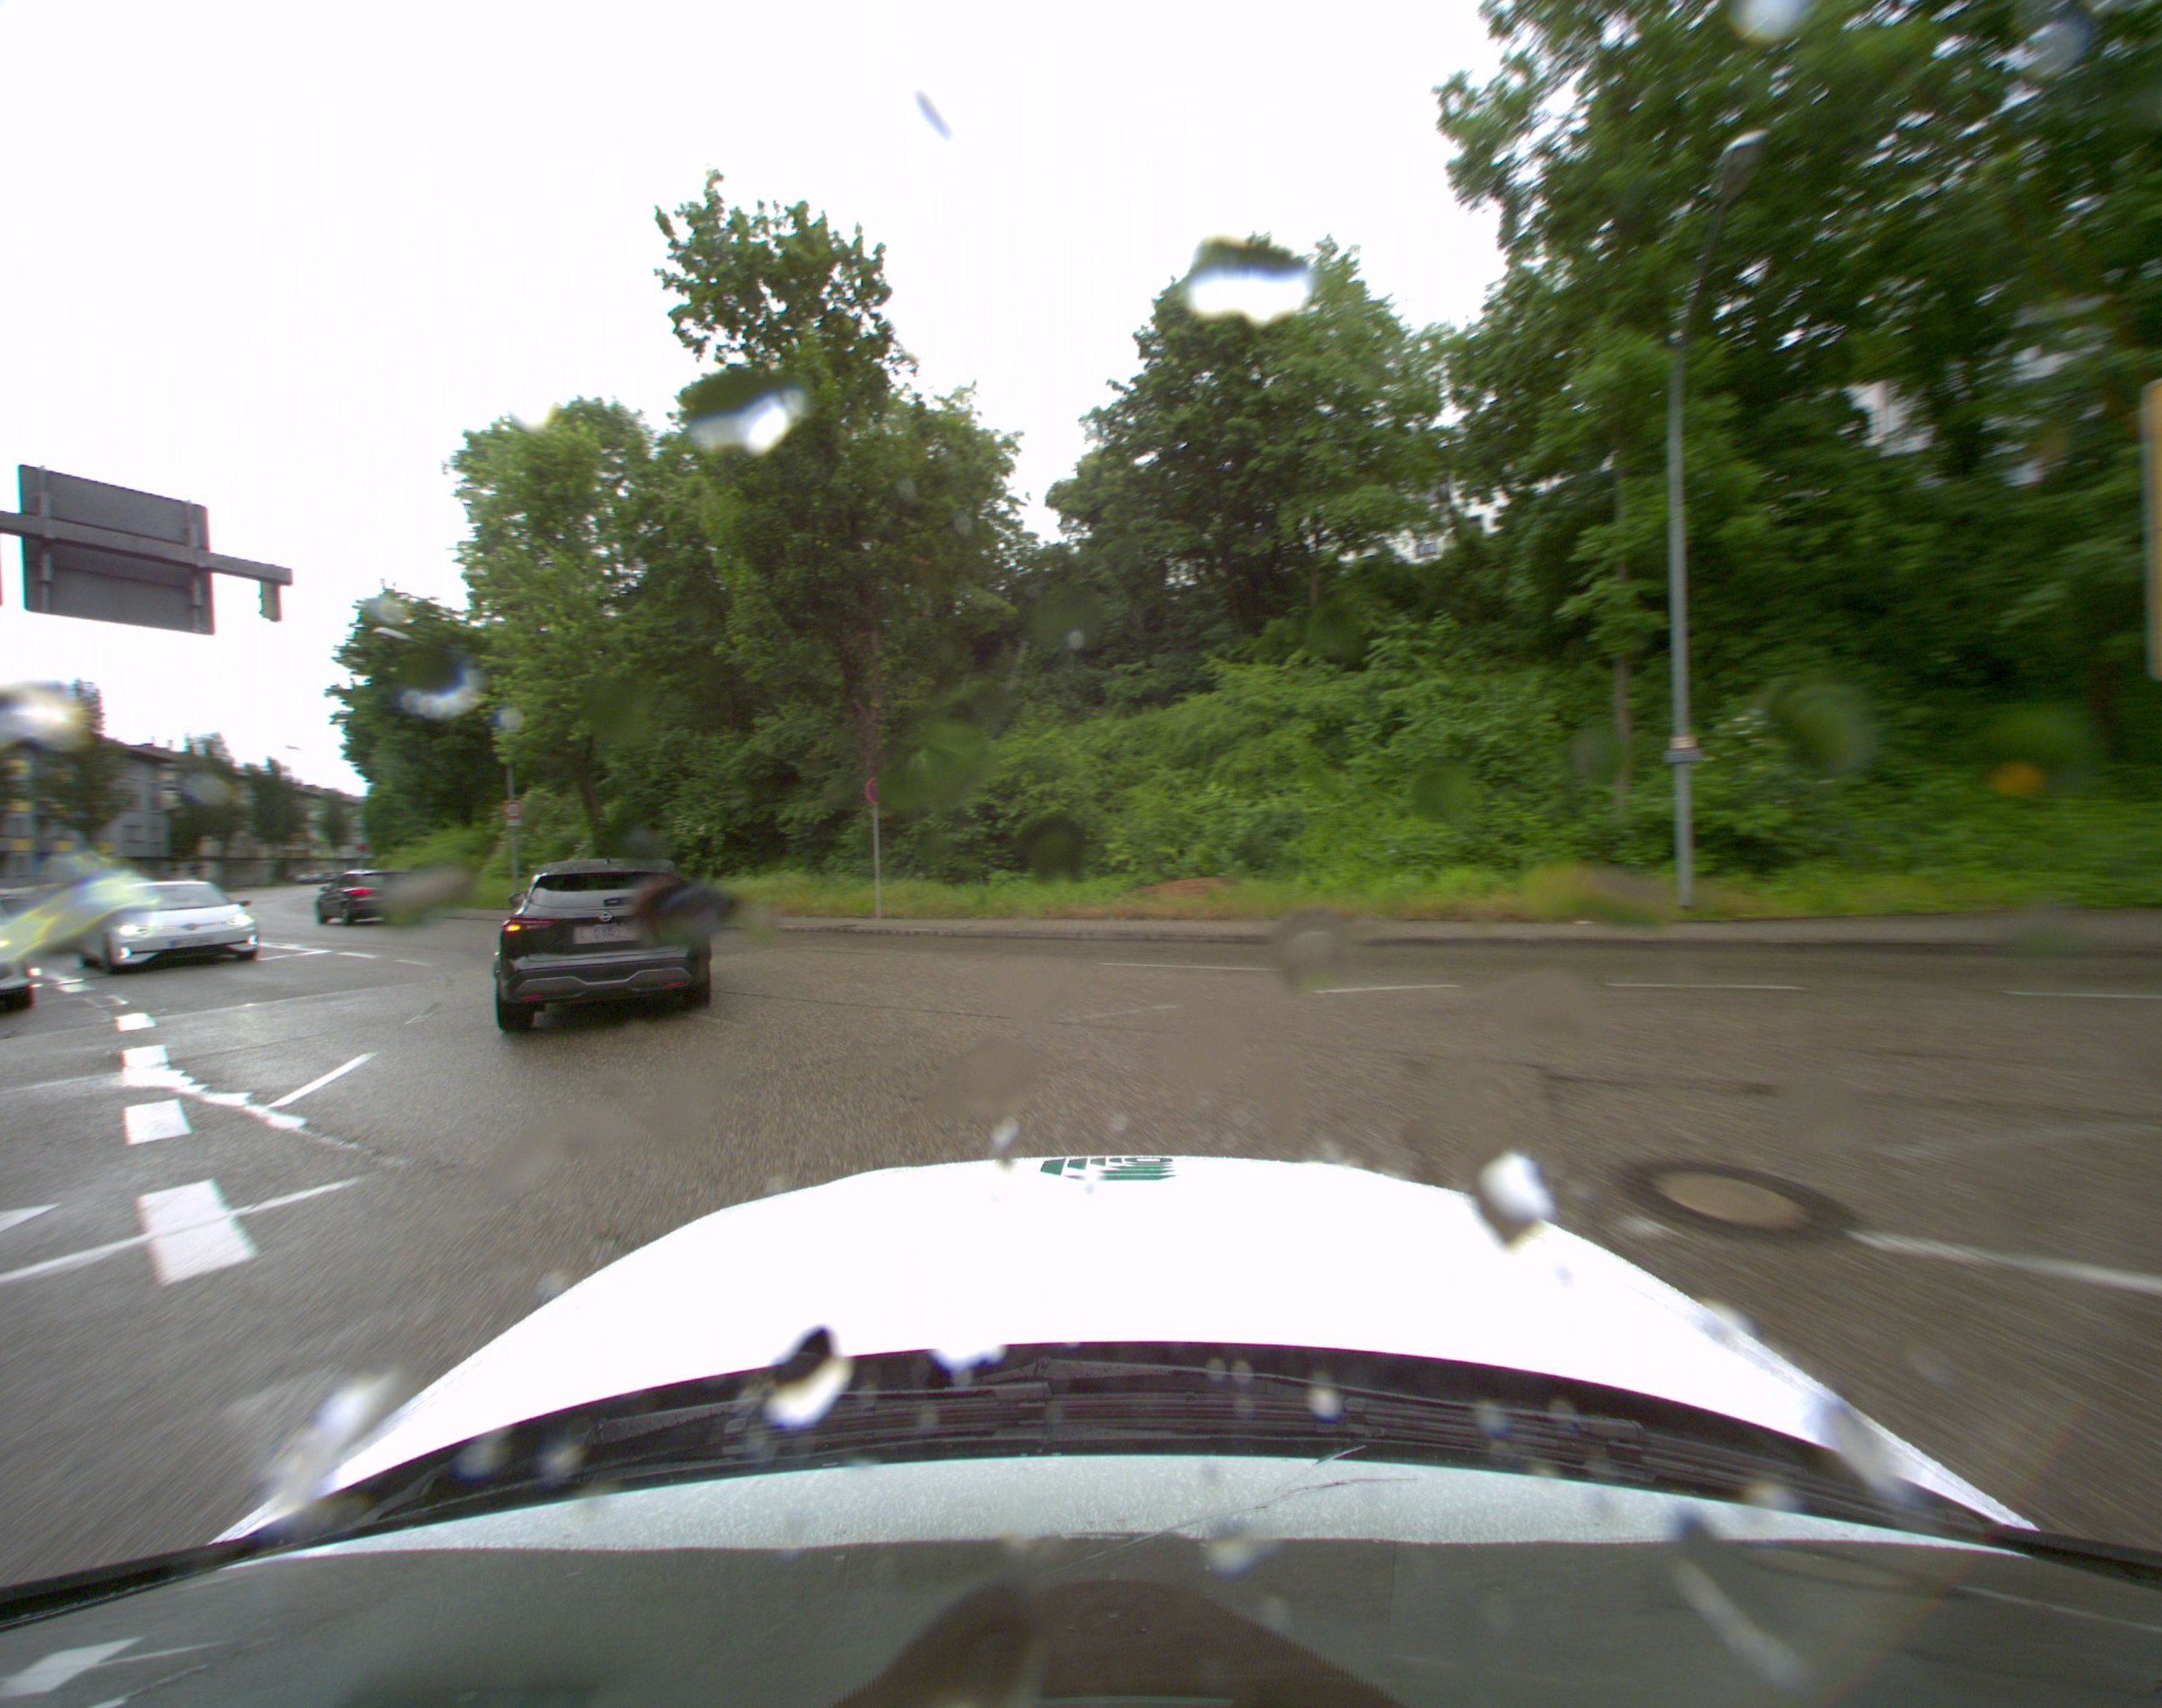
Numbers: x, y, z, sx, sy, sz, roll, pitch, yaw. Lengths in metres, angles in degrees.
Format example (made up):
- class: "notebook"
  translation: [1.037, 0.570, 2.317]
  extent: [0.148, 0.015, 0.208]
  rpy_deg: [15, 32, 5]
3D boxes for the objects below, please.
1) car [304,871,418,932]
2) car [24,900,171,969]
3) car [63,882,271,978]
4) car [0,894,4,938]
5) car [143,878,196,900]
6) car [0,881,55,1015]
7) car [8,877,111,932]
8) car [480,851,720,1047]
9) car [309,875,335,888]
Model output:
- class: "car"
  translation: [-22.183, 1.389, 25.045]
  extent: [3.948, 1.602, 1.829]
  rpy_deg: [0, 2, 37]
- class: "car"
  translation: [-24.409, 1.930, 20.176]
  extent: [4.570, 1.368, 1.772]
  rpy_deg: [-3, 1, 33]
- class: "car"
  translation: [-17.625, 1.391, 15.656]
  extent: [4.570, 1.440, 1.949]
  rpy_deg: [-3, 1, 33]
- class: "car"
  translation: [-40.595, 2.345, 29.211]
  extent: [4.572, 1.646, 1.948]
  rpy_deg: [-2, 0, 42]
- class: "car"
  translation: [-76.324, 2.939, 68.246]
  extent: [1.943, 1.646, 3.801]
  rpy_deg: [-2, 0, -32]
- class: "car"
  translation: [-15.735, 1.309, 10.935]
  extent: [4.570, 1.645, 1.949]
  rpy_deg: [-3, 1, 33]
- class: "car"
  translation: [-36.253, 1.722, 29.002]
  extent: [3.949, 1.717, 2.012]
  rpy_deg: [-2, 0, 42]
- class: "car"
  translation: [-5.316, 0.814, 9.086]
  extent: [1.823, 1.602, 3.960]
  rpy_deg: [-2, 1, -31]
- class: "car"
  translation: [-106.287, 3.789, 114.049]
  extent: [1.943, 1.646, 3.801]
  rpy_deg: [-2, 0, -32]
